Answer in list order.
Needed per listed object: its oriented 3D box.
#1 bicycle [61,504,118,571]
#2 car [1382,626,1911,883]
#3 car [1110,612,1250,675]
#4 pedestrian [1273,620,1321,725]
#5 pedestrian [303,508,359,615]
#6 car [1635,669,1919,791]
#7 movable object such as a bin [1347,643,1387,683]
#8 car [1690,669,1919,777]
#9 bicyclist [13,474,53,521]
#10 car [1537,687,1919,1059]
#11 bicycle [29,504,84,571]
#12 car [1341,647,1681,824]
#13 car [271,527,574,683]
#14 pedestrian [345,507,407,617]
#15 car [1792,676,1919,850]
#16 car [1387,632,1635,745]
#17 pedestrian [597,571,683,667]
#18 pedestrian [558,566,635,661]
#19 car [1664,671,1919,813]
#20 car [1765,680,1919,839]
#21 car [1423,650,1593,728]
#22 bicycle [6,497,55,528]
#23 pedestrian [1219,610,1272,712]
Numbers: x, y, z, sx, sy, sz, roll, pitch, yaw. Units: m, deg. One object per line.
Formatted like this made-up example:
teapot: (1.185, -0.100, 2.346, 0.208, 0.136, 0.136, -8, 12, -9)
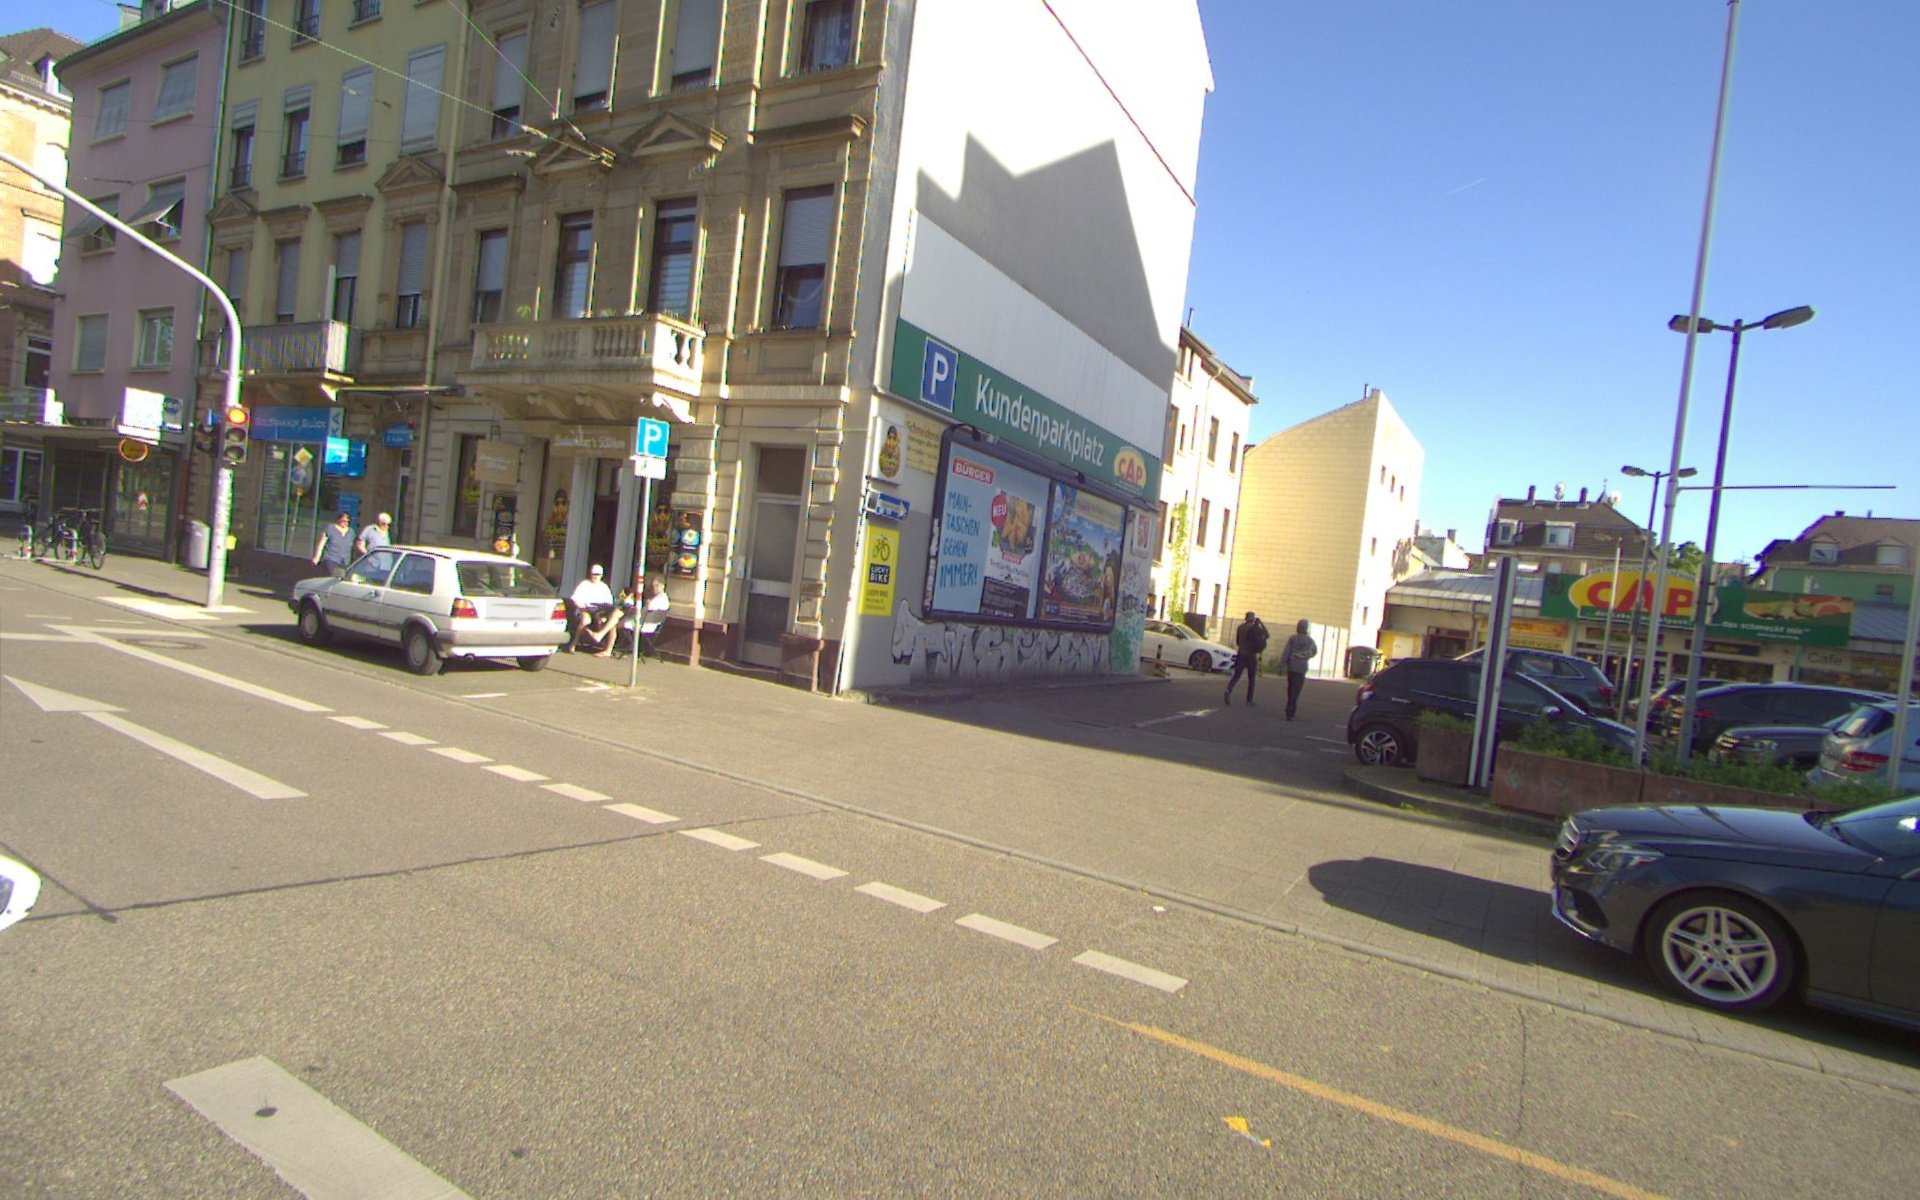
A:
bicycle: (-17.369, -1.261, 20.050, 1.731, 1.173, 0.448, 8, 1, 38)
car: (6.371, 1.325, 9.877, 3.835, 1.666, 1.652, 7, 2, 28)
car: (7.057, 1.387, 32.340, 3.933, 1.482, 1.756, 7, 1, 32)
pedestrian: (5.956, 1.266, 17.797, 0.503, 1.778, 0.762, 7, 1, 12)
pedestrian: (-10.628, -0.637, 17.009, 0.382, 1.730, 0.550, 8, 2, 34)
car: (15.281, 2.363, 19.072, 3.872, 1.564, 1.543, 7, 1, 31)
movable object such as a bin: (17.682, 2.737, 43.689, 1.258, 1.527, 1.174, 7, 1, 31)
car: (17.772, 2.513, 20.912, 3.872, 1.601, 1.658, 7, 1, 31)
bicyclist: (-32.260, -3.555, 35.030, 0.540, 1.521, 0.957, 6, 1, -17)
car: (5.856, 1.612, 5.333, 4.656, 1.507, 1.832, 7, 3, 32)
bicycle: (-17.639, -1.237, 19.627, 1.782, 1.155, 0.414, 7, 1, 38)
car: (6.670, 1.563, 12.467, 3.336, 1.504, 1.561, 7, 1, 28)
car: (-6.822, -0.008, 12.654, 3.937, 1.435, 1.562, 7, 4, 32)
pedestrian: (-10.114, -0.640, 17.429, 0.522, 1.831, 0.673, 8, 4, 31)
car: (11.338, 1.889, 10.280, 3.930, 1.665, 1.748, 7, 0, 28)
car: (11.622, 1.810, 21.414, 4.309, 1.687, 1.756, 7, 1, 32)
pedestrian: (-4.642, 0.273, 14.609, 0.644, 1.299, 0.902, 7, 3, 27)
pedestrian: (-5.315, 0.197, 14.728, 0.598, 1.299, 0.797, 7, 4, 29)
car: (13.053, 2.122, 15.008, 3.871, 1.564, 1.544, 7, 1, 30)
car: (12.710, 2.139, 12.395, 3.931, 1.715, 1.747, 7, 1, 29)
car: (15.335, 2.452, 28.261, 3.933, 1.538, 1.723, 7, 1, 32)
bicycle: (-32.311, -3.030, 34.988, 0.644, 0.914, 1.333, 7, 0, -16)
pedestrian: (5.543, 1.171, 19.502, 0.734, 1.864, 0.762, 7, 1, 19)
